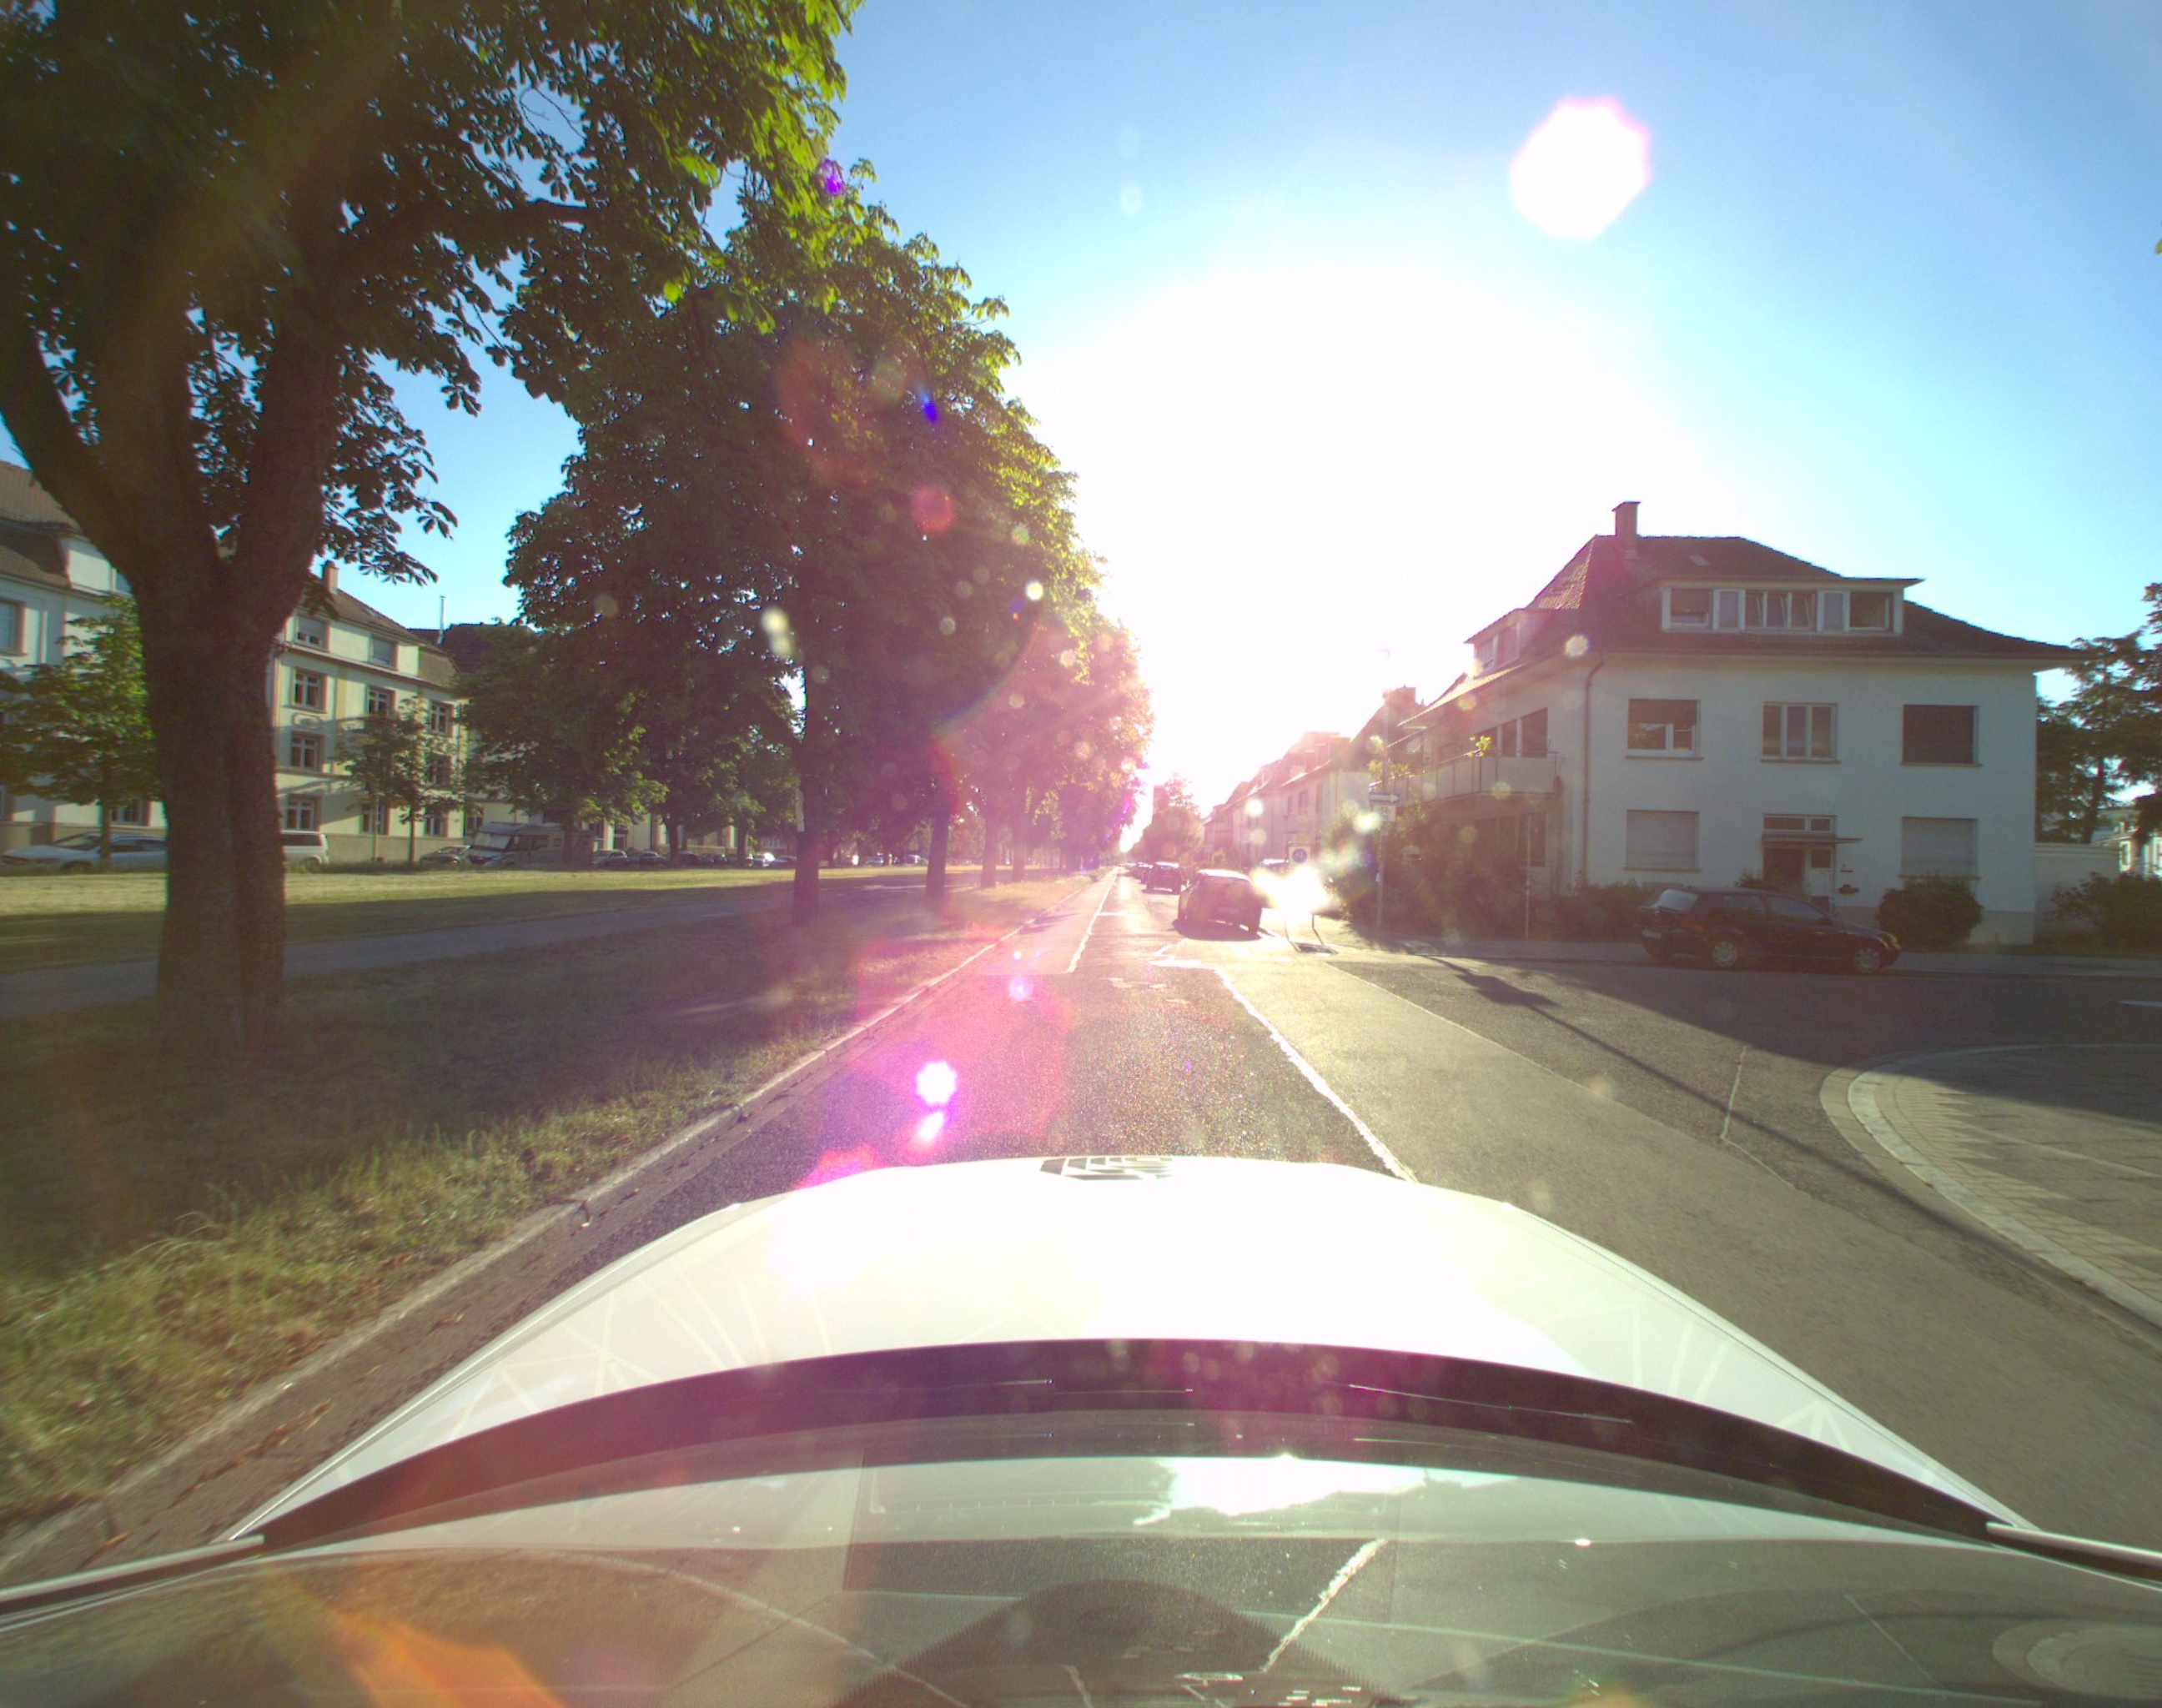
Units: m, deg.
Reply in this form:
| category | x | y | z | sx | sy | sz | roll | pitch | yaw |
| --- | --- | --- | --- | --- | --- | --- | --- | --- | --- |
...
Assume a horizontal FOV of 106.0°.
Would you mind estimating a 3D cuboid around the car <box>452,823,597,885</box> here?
| category | x | y | z | sx | sy | sz | roll | pitch | yaw |
| --- | --- | --- | --- | --- | --- | --- | --- | --- | --- |
| car | -31.819 | 0.064 | 47.045 | 2.382 | 3.131 | 7.858 | 4 | -1 | 3 |

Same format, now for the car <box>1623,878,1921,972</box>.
| category | x | y | z | sx | sy | sz | roll | pitch | yaw |
| --- | --- | --- | --- | --- | --- | --- | --- | --- | --- |
| car | 12.477 | 1.249 | 14.899 | 3.971 | 1.447 | 1.717 | 2 | -2 | 2 |

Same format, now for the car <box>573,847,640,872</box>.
| category | x | y | z | sx | sy | sz | roll | pitch | yaw |
| --- | --- | --- | --- | --- | --- | --- | --- | --- | --- |
| car | -37.049 | 0.446 | 63.752 | 1.987 | 1.690 | 5.158 | 4 | -2 | 1 |

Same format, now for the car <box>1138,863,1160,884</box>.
| category | x | y | z | sx | sy | sz | roll | pitch | yaw |
| --- | --- | --- | --- | --- | --- | --- | --- | --- | --- |
| car | 7.092 | 2.029 | 85.304 | 1.986 | 2.014 | 4.001 | 4 | -2 | 2 |

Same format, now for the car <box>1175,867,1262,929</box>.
| category | x | y | z | sx | sy | sz | roll | pitch | yaw |
| --- | --- | --- | --- | --- | --- | --- | --- | --- | --- |
| car | 3.541 | 1.124 | 21.631 | 1.703 | 1.359 | 4.205 | 4 | -2 | 3 |

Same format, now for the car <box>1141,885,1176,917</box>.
| category | x | y | z | sx | sy | sz | roll | pitch | yaw |
| --- | --- | --- | --- | --- | --- | --- | --- | --- | --- |
| car | 4.999 | 3.015 | 53.020 | 1.876 | 1.860 | 4.000 | 4 | -2 | 1 |

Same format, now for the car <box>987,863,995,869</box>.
| category | x | y | z | sx | sy | sz | roll | pitch | yaw |
| --- | --- | --- | --- | --- | --- | --- | --- | --- | --- |
| car | -23.780 | 3.204 | 216.256 | 1.606 | 1.538 | 3.355 | 4 | -3 | 1 |

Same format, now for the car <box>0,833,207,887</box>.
| category | x | y | z | sx | sy | sz | roll | pitch | yaw |
| --- | --- | --- | --- | --- | --- | --- | --- | --- | --- |
| car | -32.808 | 0.207 | 27.416 | 1.789 | 1.554 | 4.420 | 4 | 0 | 1 |

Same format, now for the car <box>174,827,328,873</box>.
| category | x | y | z | sx | sy | sz | roll | pitch | yaw |
| --- | --- | --- | --- | --- | --- | --- | --- | --- | --- |
| car | -38.306 | -0.155 | 37.809 | 1.986 | 1.950 | 4.879 | 2 | -1 | 1 |

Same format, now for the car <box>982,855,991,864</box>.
| category | x | y | z | sx | sy | sz | roll | pitch | yaw |
| --- | --- | --- | --- | --- | --- | --- | --- | --- | --- |
| car | -23.125 | 1.356 | 199.927 | 1.648 | 1.939 | 3.568 | 4 | -3 | 2 |

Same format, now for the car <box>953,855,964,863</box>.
| category | x | y | z | sx | sy | sz | roll | pitch | yaw |
| --- | --- | --- | --- | --- | --- | --- | --- | --- | --- |
| car | -31.023 | 1.292 | 206.464 | 1.986 | 1.913 | 4.002 | 4 | -2 | 3 |

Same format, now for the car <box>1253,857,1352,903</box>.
| category | x | y | z | sx | sy | sz | roll | pitch | yaw |
| --- | --- | --- | --- | --- | --- | --- | --- | --- | --- |
| car | 9.868 | 1.199 | 36.498 | 3.976 | 1.823 | 1.758 | 1 | -7 | -2 |

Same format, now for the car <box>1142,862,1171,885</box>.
| category | x | y | z | sx | sy | sz | roll | pitch | yaw |
| --- | --- | --- | --- | --- | --- | --- | --- | --- | --- |
| car | 5.978 | 1.572 | 65.078 | 1.986 | 1.654 | 4.001 | 2 | -2 | 2 |

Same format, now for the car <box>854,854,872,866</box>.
| category | x | y | z | sx | sy | sz | roll | pitch | yaw |
| --- | --- | --- | --- | --- | --- | --- | --- | --- | --- |
| car | -33.975 | 1.006 | 127.184 | 1.634 | 1.643 | 3.854 | 4 | -2 | 1 |

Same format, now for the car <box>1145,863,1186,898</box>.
| category | x | y | z | sx | sy | sz | roll | pitch | yaw |
| --- | --- | --- | --- | --- | --- | --- | --- | --- | --- |
| car | 4.884 | 1.514 | 47.341 | 1.986 | 1.781 | 4.001 | 4 | 0 | 2 |

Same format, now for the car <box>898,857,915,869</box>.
| category | x | y | z | sx | sy | sz | roll | pitch | yaw |
| --- | --- | --- | --- | --- | --- | --- | --- | --- | --- |
| car | -28.396 | 1.467 | 132.901 | 1.722 | 1.690 | 3.878 | 4 | -3 | 1 |

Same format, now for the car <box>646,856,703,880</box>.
| category | x | y | z | sx | sy | sz | roll | pitch | yaw |
| --- | --- | --- | --- | --- | --- | --- | --- | --- | --- |
| car | -31.165 | 1.105 | 62.644 | 1.871 | 1.674 | 4.318 | 4 | -2 | 3 |

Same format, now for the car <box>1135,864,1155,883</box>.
| category | x | y | z | sx | sy | sz | roll | pitch | yaw |
| --- | --- | --- | --- | --- | --- | --- | --- | --- | --- |
| car | 7.128 | 2.194 | 90.889 | 1.986 | 2.014 | 4.001 | 4 | -2 | 2 |

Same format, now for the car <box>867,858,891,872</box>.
| category | x | y | z | sx | sy | sz | roll | pitch | yaw |
| --- | --- | --- | --- | --- | --- | --- | --- | --- | --- |
| car | -28.103 | 1.551 | 113.539 | 2.014 | 1.659 | 3.986 | 4 | -2 | 3 |

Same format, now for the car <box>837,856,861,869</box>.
| category | x | y | z | sx | sy | sz | roll | pitch | yaw |
| --- | --- | --- | --- | --- | --- | --- | --- | --- | --- |
| car | -33.866 | 1.283 | 118.976 | 1.985 | 1.659 | 4.359 | 4 | -2 | 4 |

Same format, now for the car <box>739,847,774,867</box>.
| category | x | y | z | sx | sy | sz | roll | pitch | yaw |
| --- | --- | --- | --- | --- | --- | --- | --- | --- | --- |
| car | -35.629 | 0.328 | 89.461 | 1.986 | 2.014 | 4.000 | 4 | -2 | 1 |

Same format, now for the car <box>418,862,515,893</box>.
| category | x | y | z | sx | sy | sz | roll | pitch | yaw |
| --- | --- | --- | --- | --- | --- | --- | --- | --- | --- |
| car | -36.956 | 1.405 | 49.133 | 1.985 | 1.659 | 4.575 | 4 | -2 | 4 |

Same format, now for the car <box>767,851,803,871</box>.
| category | x | y | z | sx | sy | sz | roll | pitch | yaw |
| --- | --- | --- | --- | --- | --- | --- | --- | --- | --- |
| car | -30.075 | 0.755 | 82.843 | 1.804 | 1.781 | 4.125 | 4 | -2 | 4 |

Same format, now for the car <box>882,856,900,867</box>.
| category | x | y | z | sx | sy | sz | roll | pitch | yaw |
| --- | --- | --- | --- | --- | --- | --- | --- | --- | --- |
| car | -33.236 | 1.333 | 142.635 | 1.986 | 1.618 | 4.000 | 4 | -2 | 1 |

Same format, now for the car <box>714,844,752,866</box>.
| category | x | y | z | sx | sy | sz | roll | pitch | yaw |
| --- | --- | --- | --- | --- | --- | --- | --- | --- | --- |
| car | -35.653 | 0.131 | 83.601 | 1.986 | 2.014 | 4.000 | 4 | -2 | 1 |

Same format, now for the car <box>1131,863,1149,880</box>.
| category | x | y | z | sx | sy | sz | roll | pitch | yaw |
| --- | --- | --- | --- | --- | --- | --- | --- | --- | --- |
| car | 7.562 | 2.295 | 105.071 | 1.986 | 2.014 | 4.001 | 4 | -2 | 2 |

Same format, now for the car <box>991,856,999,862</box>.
| category | x | y | z | sx | sy | sz | roll | pitch | yaw |
| --- | --- | --- | --- | --- | --- | --- | --- | --- | --- |
| car | -27.504 | 1.574 | 260.215 | 1.986 | 2.014 | 4.002 | 2 | -1 | 2 |
